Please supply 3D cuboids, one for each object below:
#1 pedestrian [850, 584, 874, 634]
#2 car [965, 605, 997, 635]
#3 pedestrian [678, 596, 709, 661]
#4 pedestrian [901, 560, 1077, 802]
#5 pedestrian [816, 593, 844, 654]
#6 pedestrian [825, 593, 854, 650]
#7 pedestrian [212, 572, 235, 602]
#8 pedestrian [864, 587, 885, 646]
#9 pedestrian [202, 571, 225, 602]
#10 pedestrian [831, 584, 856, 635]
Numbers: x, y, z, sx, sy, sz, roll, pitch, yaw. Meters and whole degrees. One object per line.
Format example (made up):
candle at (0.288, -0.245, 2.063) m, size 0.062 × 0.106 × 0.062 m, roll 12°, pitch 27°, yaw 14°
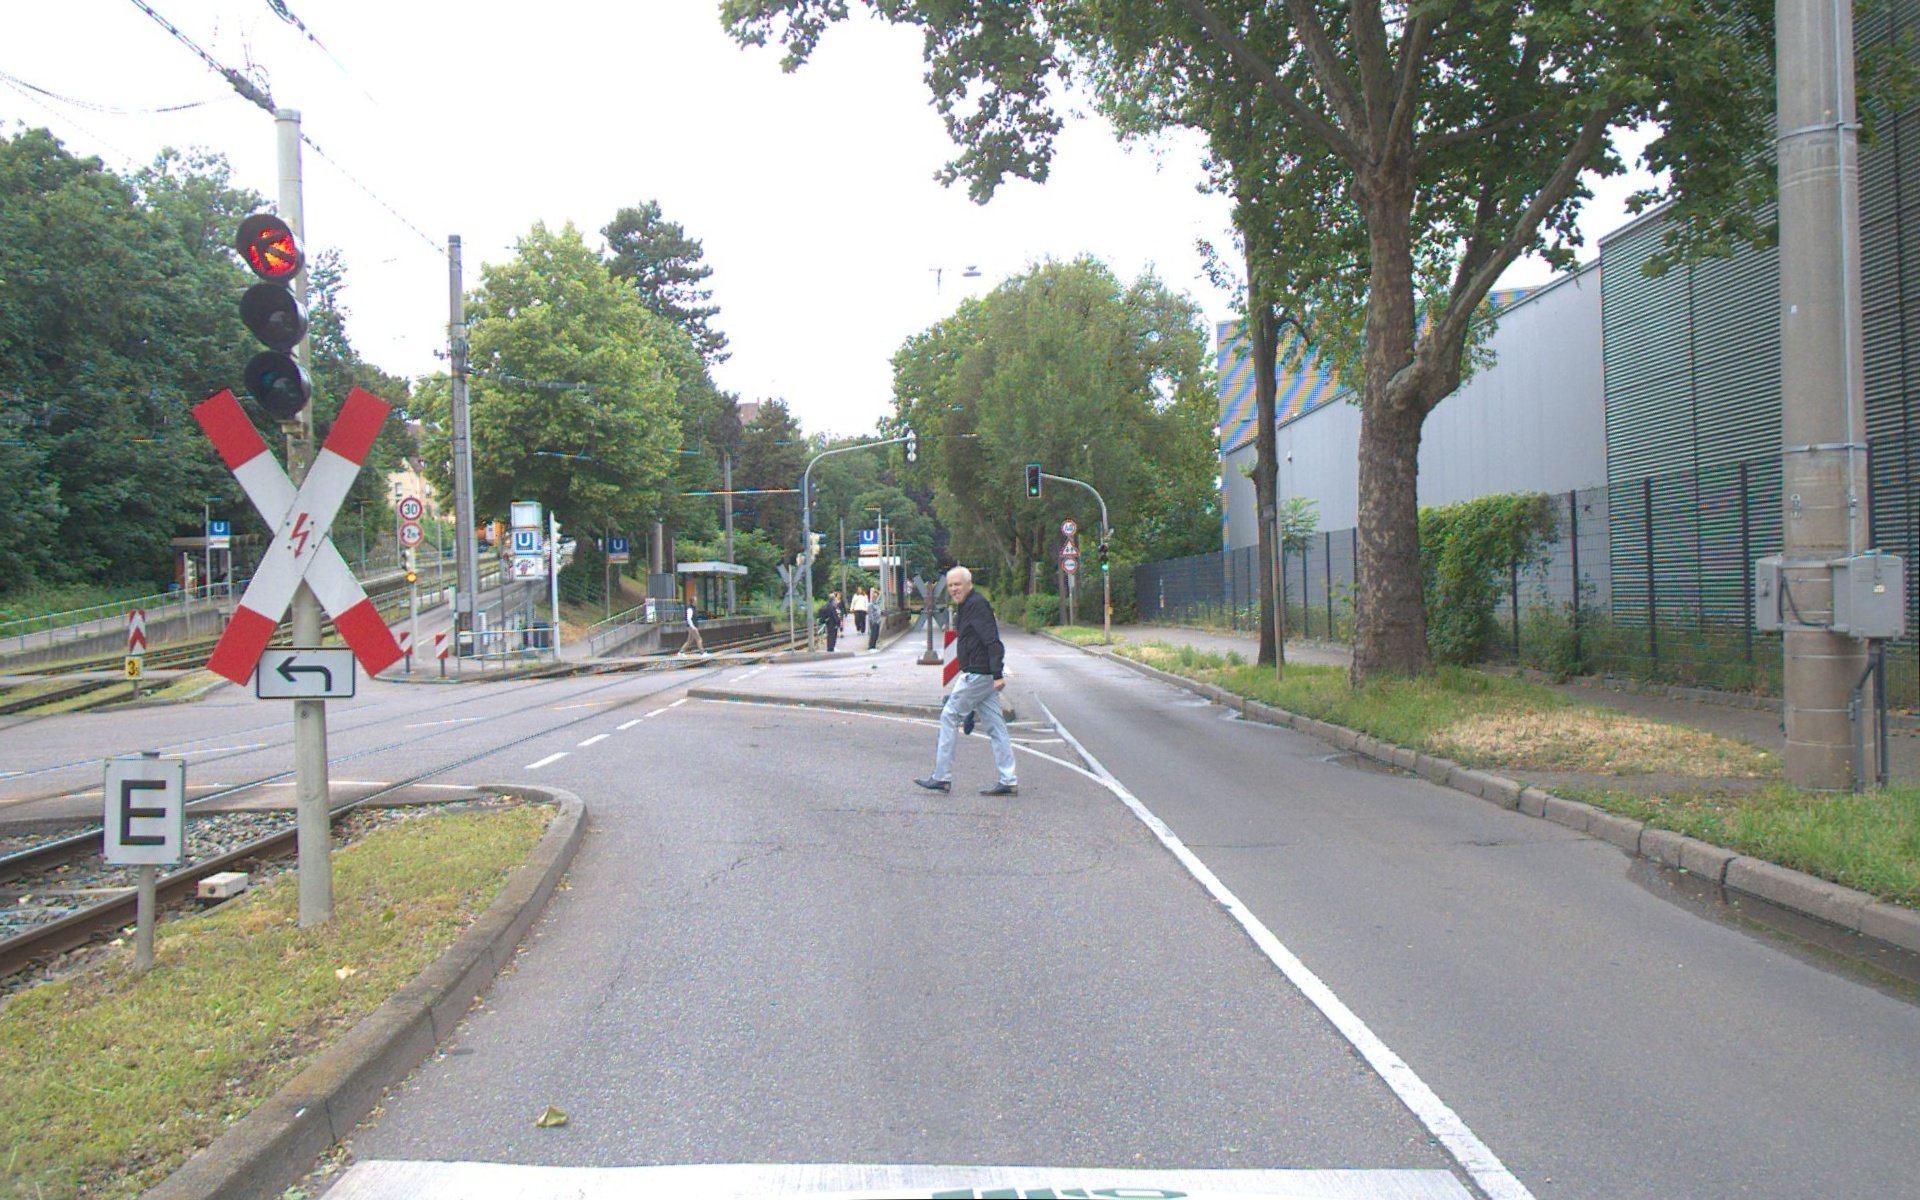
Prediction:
pedestrian at (-3.329, 0.310, 56.286) m, size 0.722 × 1.694 × 0.680 m, roll 1°, pitch -1°, yaw -11°
car at (1.168, 1.135, 93.992) m, size 1.708 × 1.627 × 3.999 m, roll 1°, pitch -1°, yaw -1°
pedestrian at (-7.648, 0.818, 47.506) m, size 0.787 × 1.853 × 0.670 m, roll 1°, pitch -1°, yaw -6°
pedestrian at (0.230, 0.603, 12.911) m, size 1.109 × 1.791 × 0.802 m, roll 1°, pitch -1°, yaw -39°
pedestrian at (-3.696, 0.671, 46.999) m, size 0.720 × 1.694 × 0.682 m, roll 1°, pitch -1°, yaw 1°
pedestrian at (-3.619, 0.638, 49.749) m, size 0.665 × 1.694 × 0.738 m, roll 1°, pitch -1°, yaw 14°
pedestrian at (-33.623, -0.600, 75.513) m, size 0.757 × 1.349 × 0.785 m, roll 1°, pitch -1°, yaw -9°
pedestrian at (-2.628, 0.505, 50.747) m, size 0.538 × 1.789 × 0.738 m, roll 1°, pitch -1°, yaw 4°
pedestrian at (-33.548, -0.604, 74.335) m, size 0.757 × 1.349 × 0.786 m, roll 1°, pitch 2°, yaw -9°
pedestrian at (-3.909, 0.328, 55.513) m, size 0.722 × 1.694 × 0.680 m, roll 1°, pitch -1°, yaw -11°
